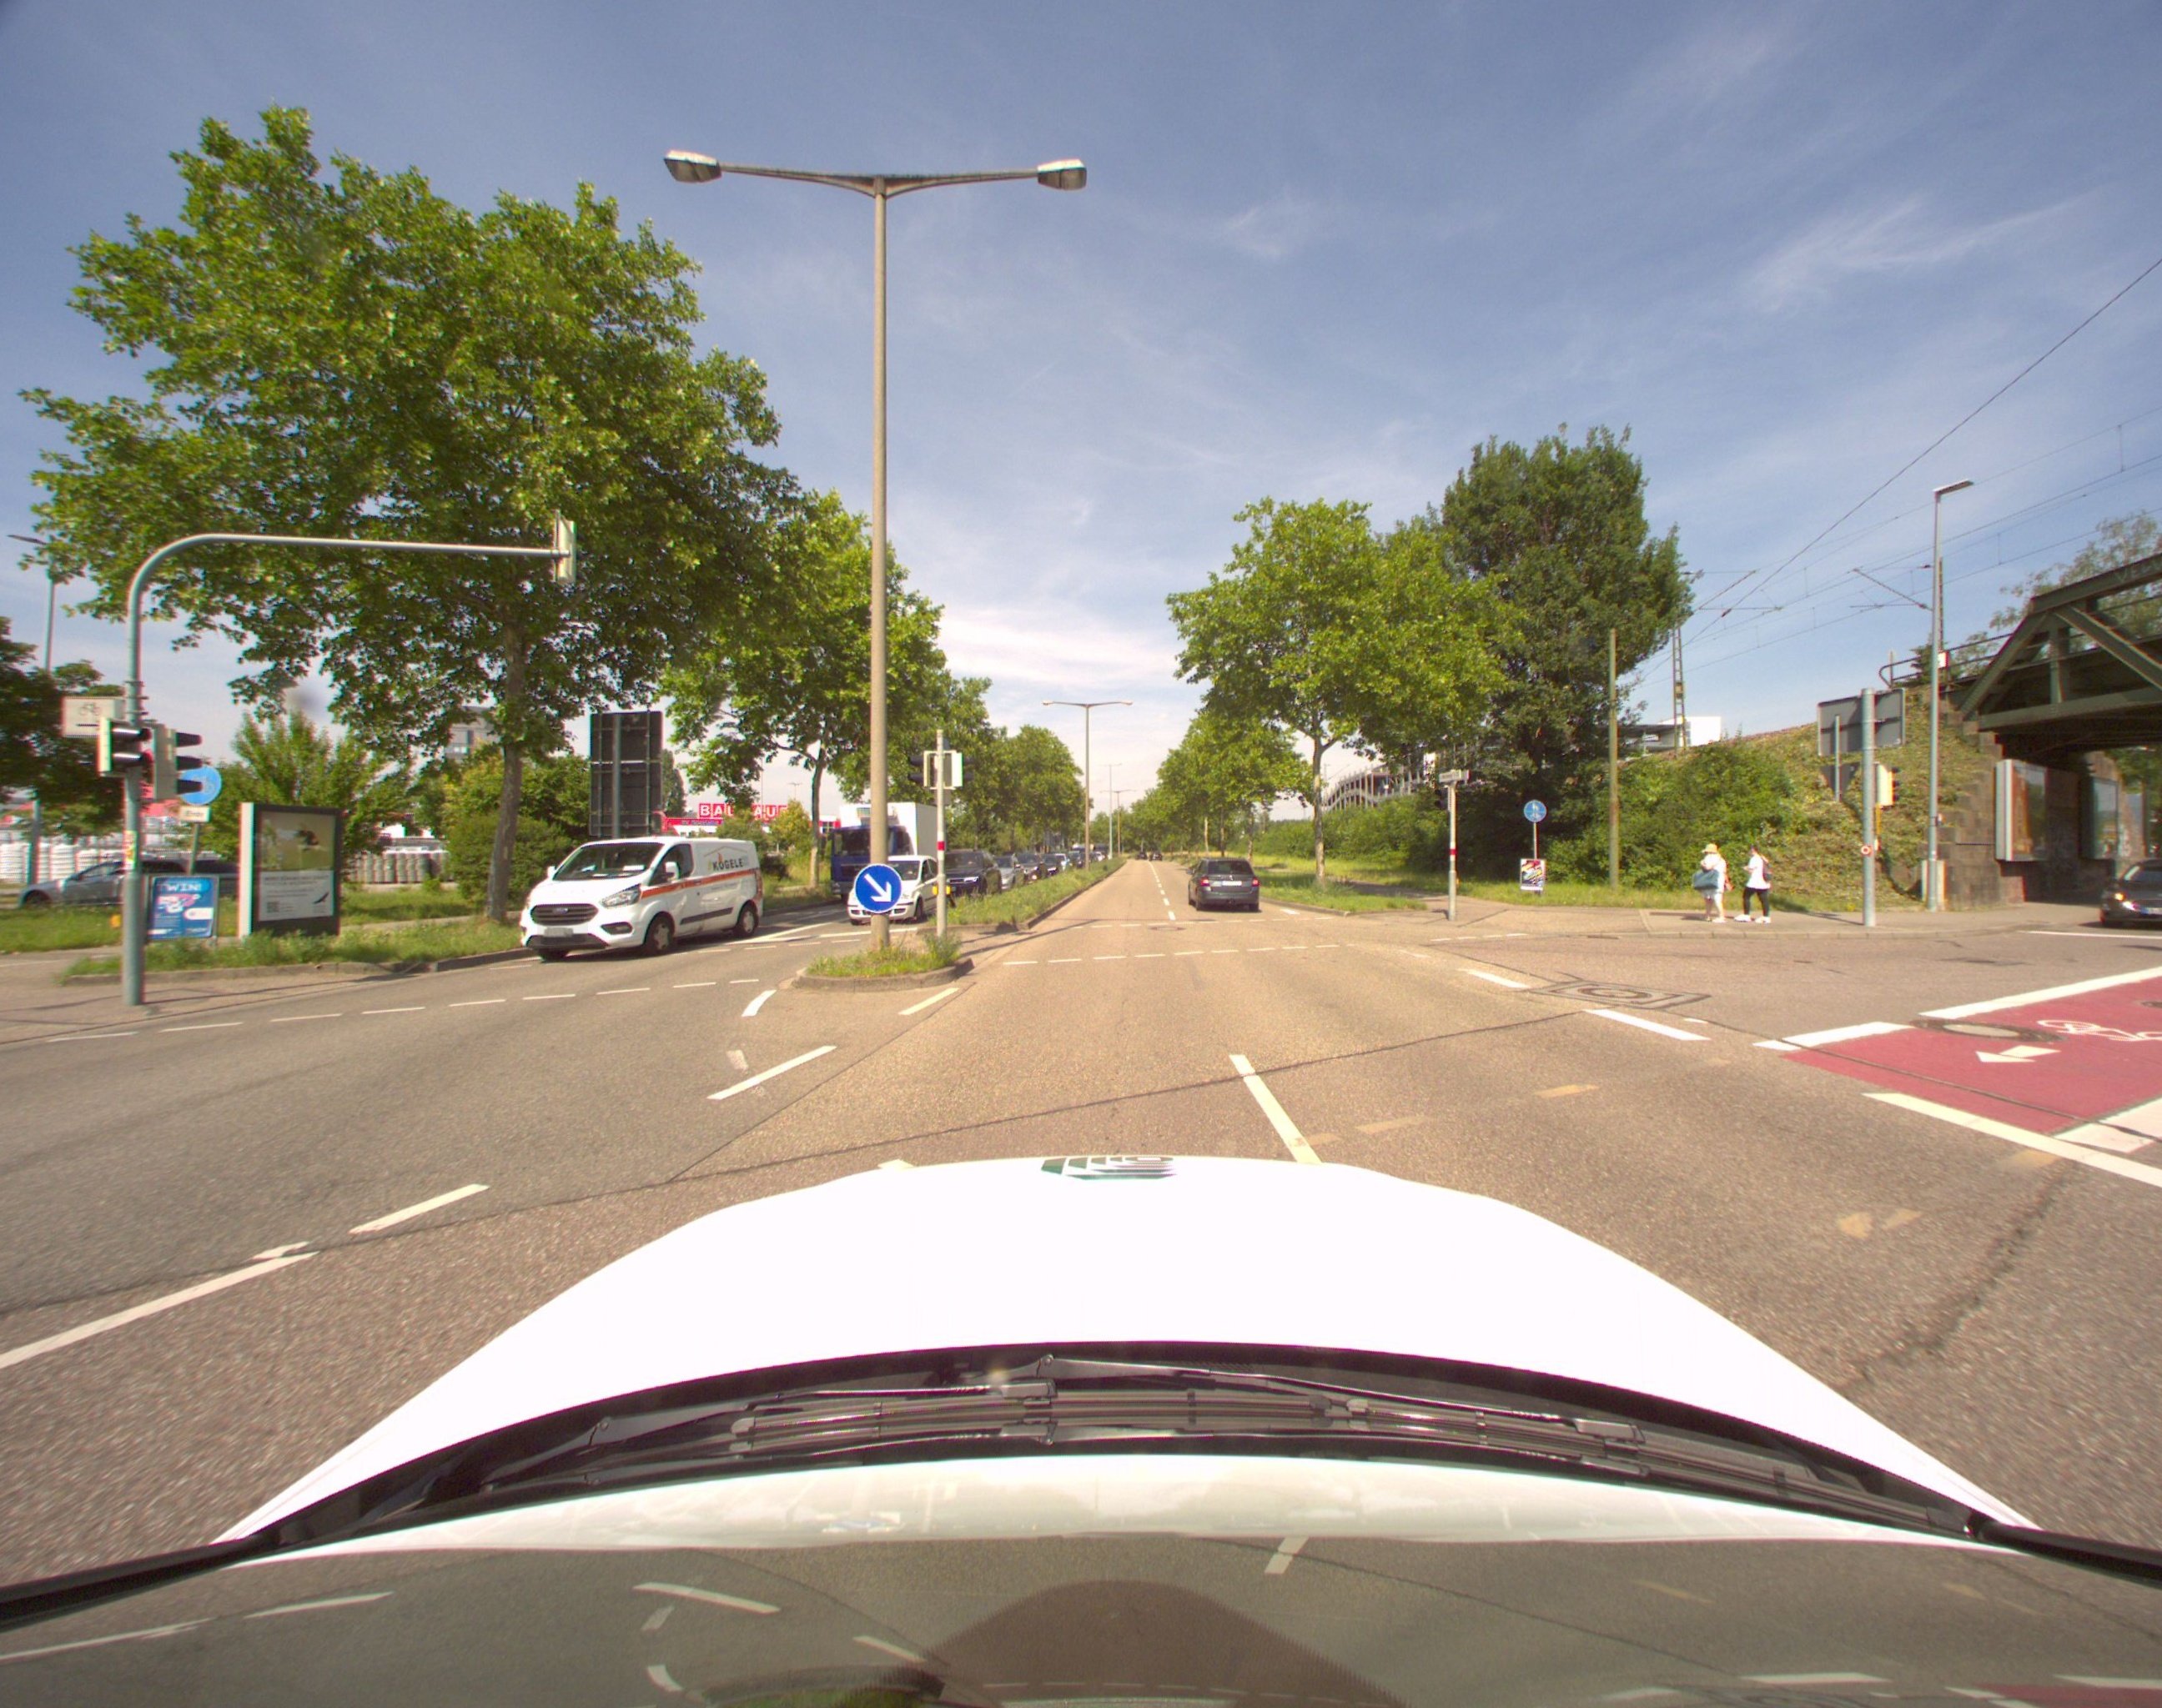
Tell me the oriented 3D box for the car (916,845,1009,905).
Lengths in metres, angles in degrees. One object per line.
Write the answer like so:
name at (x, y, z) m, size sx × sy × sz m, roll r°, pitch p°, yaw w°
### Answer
car at (-3.527, 0.629, 25.158) m, size 1.812 × 1.646 × 4.699 m, roll -1°, pitch -1°, yaw 4°

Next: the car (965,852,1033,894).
car at (-3.112, 0.687, 31.663) m, size 1.788 × 1.468 × 4.529 m, roll -1°, pitch 0°, yaw 5°

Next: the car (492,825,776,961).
car at (-7.579, 0.561, 14.587) m, size 1.967 × 1.999 × 5.039 m, roll 0°, pitch 0°, yaw 5°

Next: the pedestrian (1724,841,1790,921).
pedestrian at (13.714, 0.537, 16.533) m, size 0.726 × 1.579 × 0.778 m, roll 0°, pitch 0°, yaw 4°

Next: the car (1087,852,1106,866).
car at (1.765, 0.577, 91.579) m, size 1.775 × 1.459 × 4.477 m, roll -1°, pitch 0°, yaw 4°

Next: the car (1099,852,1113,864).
car at (3.556, 0.587, 114.637) m, size 1.681 × 1.530 × 3.819 m, roll -1°, pitch -1°, yaw 4°

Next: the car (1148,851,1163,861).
car at (10.886, 0.235, 119.084) m, size 1.901 × 1.463 × 4.623 m, roll 0°, pitch 0°, yaw 1°

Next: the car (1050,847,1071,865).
car at (-2.121, 0.212, 85.389) m, size 1.681 × 1.858 × 4.041 m, roll -1°, pitch 0°, yaw 4°

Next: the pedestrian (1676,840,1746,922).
pedestrian at (12.797, 0.535, 16.566) m, size 0.864 × 1.611 × 0.778 m, roll 0°, pitch 0°, yaw 4°

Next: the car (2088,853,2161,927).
car at (22.699, 0.696, 16.766) m, size 4.517 × 1.409 × 1.980 m, roll 0°, pitch 0°, yaw -32°

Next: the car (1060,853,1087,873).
car at (-0.569, 0.665, 64.088) m, size 1.777 × 1.489 × 4.215 m, roll -1°, pitch 0°, yaw 3°

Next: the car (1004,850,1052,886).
car at (-2.454, 0.636, 38.627) m, size 1.681 × 1.586 × 4.245 m, roll -1°, pitch 0°, yaw 4°

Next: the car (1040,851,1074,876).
car at (-1.487, 0.556, 51.410) m, size 1.681 × 1.472 × 3.819 m, roll -1°, pitch 0°, yaw 4°

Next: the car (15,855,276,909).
car at (-26.026, 0.745, 22.829) m, size 4.551 × 1.414 × 2.198 m, roll 0°, pitch 0°, yaw -3°

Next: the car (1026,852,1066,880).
car at (-1.938, 0.648, 45.883) m, size 1.681 × 1.473 × 4.223 m, roll -2°, pitch 0°, yaw 4°

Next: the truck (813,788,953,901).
truck at (-6.757, -0.324, 28.964) m, size 2.791 × 3.471 × 6.699 m, roll -2°, pitch 0°, yaw 4°

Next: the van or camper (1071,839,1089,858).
van or camper at (-0.045, -0.765, 112.885) m, size 2.006 × 2.587 × 5.524 m, roll -1°, pitch 0°, yaw 4°

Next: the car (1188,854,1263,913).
car at (3.965, 0.752, 22.830) m, size 1.666 × 1.453 × 4.041 m, roll 1°, pitch 0°, yaw 5°

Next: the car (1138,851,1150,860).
car at (11.416, 0.294, 148.464) m, size 1.901 × 1.463 × 4.583 m, roll 0°, pitch 1°, yaw 1°

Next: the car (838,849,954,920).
car at (-4.246, 0.647, 19.240) m, size 1.585 × 1.477 × 3.734 m, roll -1°, pitch 0°, yaw 4°

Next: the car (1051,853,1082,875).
car at (-0.980, 0.689, 58.788) m, size 1.750 × 1.530 × 4.834 m, roll -1°, pitch 0°, yaw 4°
